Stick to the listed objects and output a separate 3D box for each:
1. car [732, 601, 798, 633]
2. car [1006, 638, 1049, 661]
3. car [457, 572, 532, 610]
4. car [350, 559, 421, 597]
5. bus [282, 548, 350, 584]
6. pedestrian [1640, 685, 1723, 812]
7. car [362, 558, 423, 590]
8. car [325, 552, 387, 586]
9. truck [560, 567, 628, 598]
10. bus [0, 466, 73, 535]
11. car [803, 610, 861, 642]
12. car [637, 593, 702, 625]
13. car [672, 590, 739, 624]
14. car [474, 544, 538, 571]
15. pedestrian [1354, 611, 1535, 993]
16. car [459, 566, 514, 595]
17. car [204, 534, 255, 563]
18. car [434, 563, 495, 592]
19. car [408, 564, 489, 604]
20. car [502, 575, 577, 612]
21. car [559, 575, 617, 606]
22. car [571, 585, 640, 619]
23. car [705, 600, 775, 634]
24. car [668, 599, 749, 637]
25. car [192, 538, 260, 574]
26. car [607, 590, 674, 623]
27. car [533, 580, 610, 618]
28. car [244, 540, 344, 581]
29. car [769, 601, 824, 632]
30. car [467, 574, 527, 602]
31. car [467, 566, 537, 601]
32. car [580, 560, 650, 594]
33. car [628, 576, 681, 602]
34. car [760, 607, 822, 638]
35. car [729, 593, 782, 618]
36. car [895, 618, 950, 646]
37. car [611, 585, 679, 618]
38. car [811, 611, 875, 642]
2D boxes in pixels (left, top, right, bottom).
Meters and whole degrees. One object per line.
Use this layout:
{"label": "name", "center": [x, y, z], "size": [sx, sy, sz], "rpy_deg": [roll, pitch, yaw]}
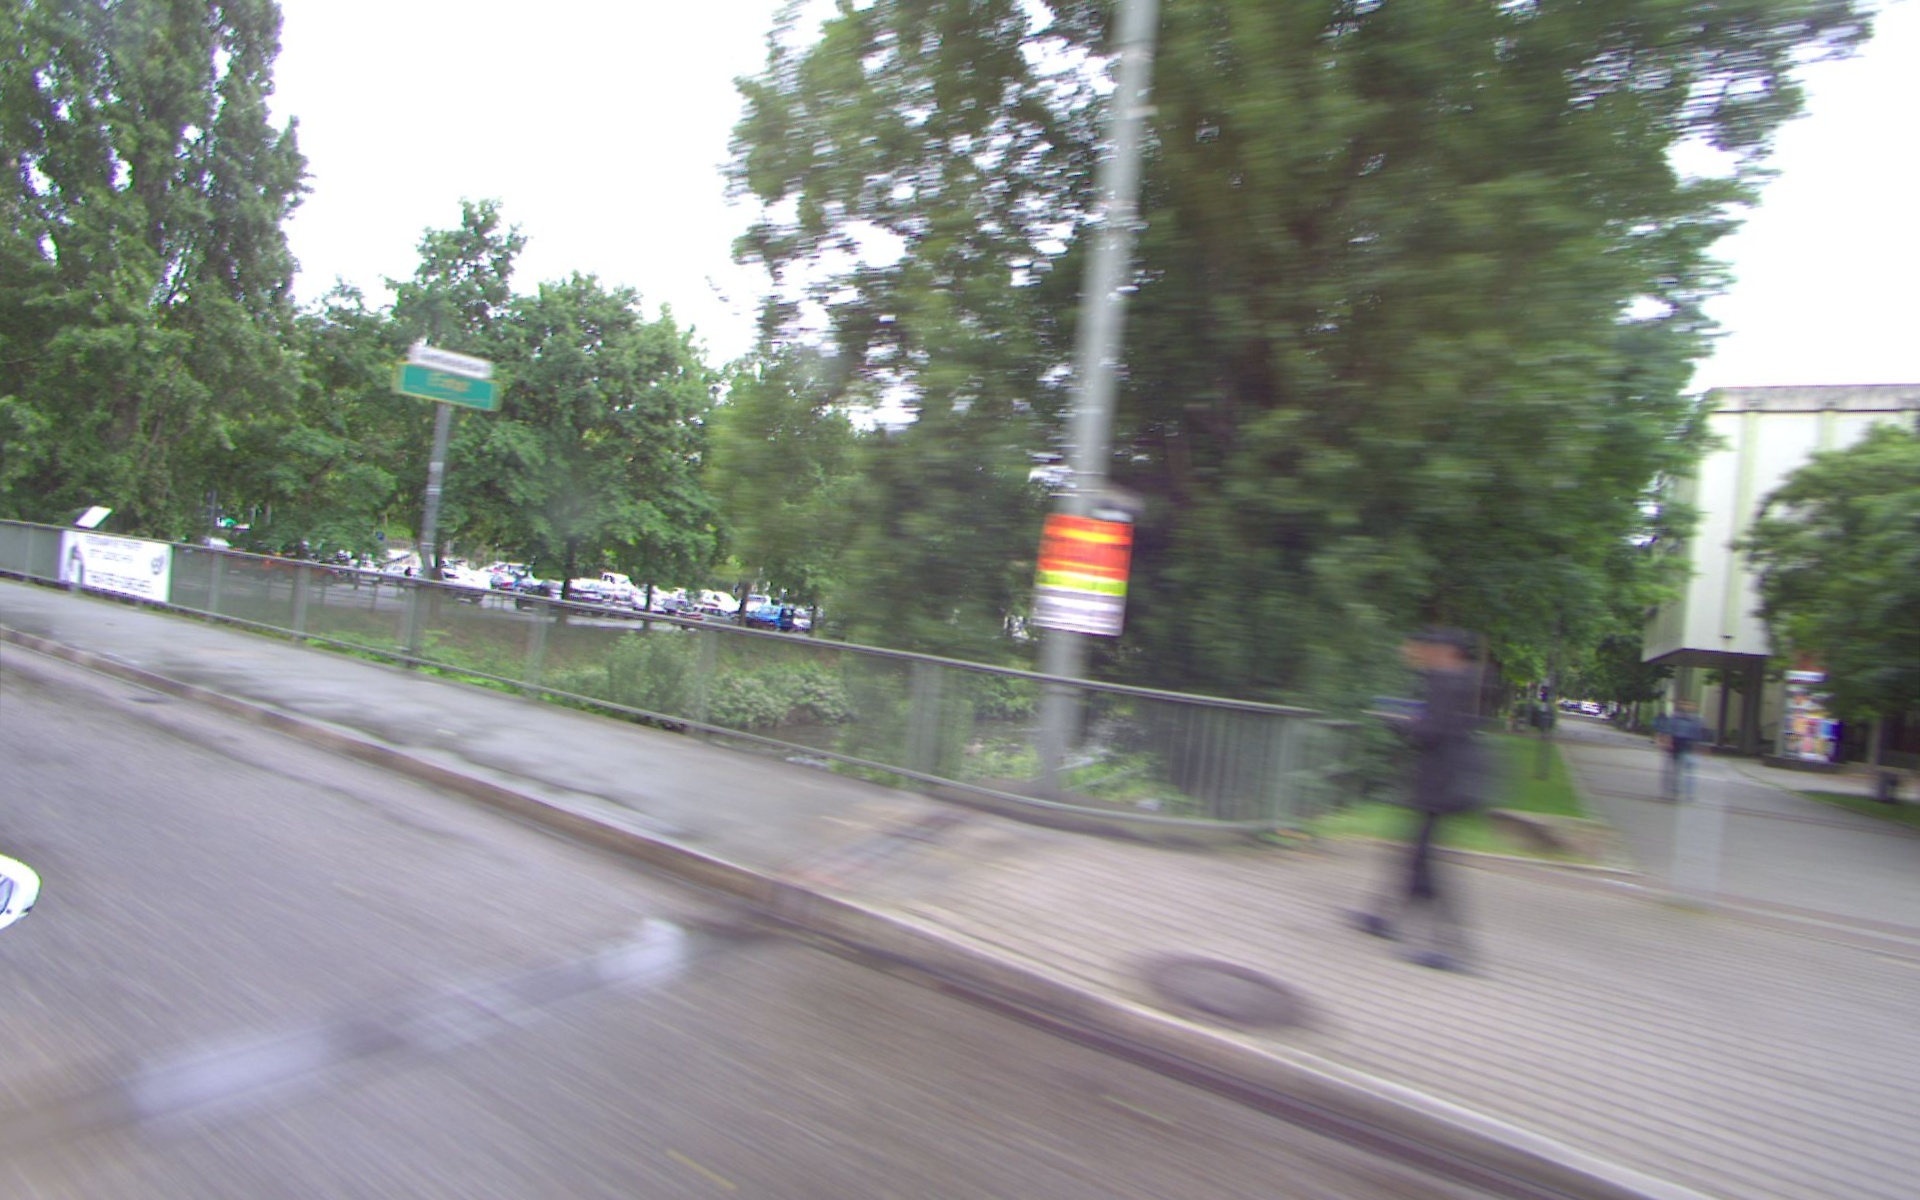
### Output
{"label": "car", "center": [-14.461, 1.253, 74.619], "size": [4.518, 1.777, 1.934], "rpy_deg": [6, -2, 31]}
{"label": "car", "center": [6.045, 4.449, 89.809], "size": [1.969, 1.564, 3.991], "rpy_deg": [6, -3, 36]}
{"label": "car", "center": [-27.862, -0.550, 60.216], "size": [4.271, 1.729, 1.804], "rpy_deg": [6, -1, 29]}
{"label": "car", "center": [-34.256, -1.325, 59.986], "size": [3.879, 1.785, 1.804], "rpy_deg": [6, -1, 29]}
{"label": "bus", "center": [-39.216, -2.085, 61.254], "size": [3.937, 1.743, 1.996], "rpy_deg": [6, -2, 34]}
{"label": "pedestrian", "center": [12.659, 2.598, 17.687], "size": [1.004, 2.035, 1.117], "rpy_deg": [4, -5, 31]}
{"label": "car", "center": [-37.461, -1.709, 66.396], "size": [3.937, 1.670, 1.821], "rpy_deg": [5, -2, 35]}
{"label": "car", "center": [-38.506, -1.975, 64.145], "size": [3.937, 1.670, 1.821], "rpy_deg": [5, -2, 35]}
{"label": "truck", "center": [-36.338, -1.721, 99.798], "size": [6.411, 2.264, 2.448], "rpy_deg": [6, -2, 28]}
{"label": "bus", "center": [-87.500, -9.642, 85.251], "size": [3.050, 5.270, 17.942], "rpy_deg": [6, -3, 34]}
{"label": "car", "center": [-10.102, 2.016, 79.269], "size": [3.930, 2.004, 1.999], "rpy_deg": [6, -1, 27]}
{"label": "car", "center": [-19.144, 0.566, 66.243], "size": [3.837, 1.605, 1.804], "rpy_deg": [6, -1, 29]}
{"label": "car", "center": [-17.487, 0.471, 69.046], "size": [4.224, 1.777, 1.934], "rpy_deg": [6, -2, 31]}
{"label": "car", "center": [-44.015, -4.087, 97.538], "size": [5.290, 1.777, 1.918], "rpy_deg": [9, -3, -36]}
{"label": "pedestrian", "center": [2.408, 0.941, 4.978], "size": [0.553, 1.685, 0.640], "rpy_deg": [8, 2, 31]}
{"label": "car", "center": [-41.128, -1.703, 87.358], "size": [4.518, 2.037, 1.998], "rpy_deg": [6, -2, 31]}
{"label": "car", "center": [-64.250, -4.504, 88.475], "size": [4.159, 2.017, 2.076], "rpy_deg": [6, -2, 33]}
{"label": "car", "center": [-35.135, -1.622, 71.370], "size": [4.132, 1.568, 1.809], "rpy_deg": [6, -2, 31]}
{"label": "car", "center": [-29.406, -0.933, 57.797], "size": [4.508, 1.785, 1.804], "rpy_deg": [6, -1, 29]}
{"label": "car", "center": [-23.993, -0.351, 57.403], "size": [3.947, 1.608, 1.804], "rpy_deg": [6, -1, 29]}
{"label": "car", "center": [-31.380, -0.815, 84.914], "size": [4.518, 2.037, 1.998], "rpy_deg": [6, -2, 31]}
{"label": "car", "center": [-21.822, 0.103, 61.854], "size": [3.837, 1.605, 1.804], "rpy_deg": [6, -1, 29]}
{"label": "car", "center": [-13.534, 1.063, 62.152], "size": [1.730, 1.564, 3.991], "rpy_deg": [6, -3, 36]}
{"label": "car", "center": [-13.930, 1.029, 55.889], "size": [1.862, 1.564, 3.991], "rpy_deg": [6, -3, 36]}
{"label": "car", "center": [-41.856, -2.497, 57.358], "size": [3.574, 1.671, 1.598], "rpy_deg": [6, 0, 26]}
{"label": "car", "center": [-20.393, 0.402, 64.107], "size": [3.837, 1.605, 1.804], "rpy_deg": [6, -1, 29]}
{"label": "car", "center": [-23.070, -0.074, 59.738], "size": [4.271, 1.729, 1.804], "rpy_deg": [6, -1, 29]}
{"label": "car", "center": [-36.439, -2.129, 55.127], "size": [1.775, 1.640, 4.131], "rpy_deg": [6, -1, 28]}
{"label": "car", "center": [-13.803, 1.398, 84.873], "size": [3.930, 2.037, 1.999], "rpy_deg": [6, -1, 27]}
{"label": "car", "center": [-33.753, -0.882, 73.332], "size": [4.132, 1.568, 1.809], "rpy_deg": [6, -2, 31]}
{"label": "car", "center": [-30.766, -1.103, 67.605], "size": [4.518, 1.777, 1.934], "rpy_deg": [6, -2, 31]}
{"label": "car", "center": [-23.626, -1.598, 68.816], "size": [4.518, 1.777, 1.934], "rpy_deg": [6, -2, 31]}
{"label": "car", "center": [-26.533, -0.987, 87.393], "size": [4.183, 1.722, 1.998], "rpy_deg": [6, -2, 31]}
{"label": "car", "center": [-12.965, 1.719, 77.047], "size": [4.367, 1.777, 1.934], "rpy_deg": [6, -2, 31]}
{"label": "car", "center": [-19.572, 0.534, 96.242], "size": [4.513, 1.868, 2.000], "rpy_deg": [6, -2, 26]}
{"label": "car", "center": [-2.775, 2.423, 75.027], "size": [1.969, 1.564, 3.991], "rpy_deg": [6, -3, 36]}
{"label": "car", "center": [-22.349, 0.128, 71.292], "size": [4.518, 1.777, 1.934], "rpy_deg": [6, -2, 31]}
{"label": "car", "center": [-7.768, 1.781, 67.017], "size": [1.969, 1.564, 3.991], "rpy_deg": [6, -3, 36]}
